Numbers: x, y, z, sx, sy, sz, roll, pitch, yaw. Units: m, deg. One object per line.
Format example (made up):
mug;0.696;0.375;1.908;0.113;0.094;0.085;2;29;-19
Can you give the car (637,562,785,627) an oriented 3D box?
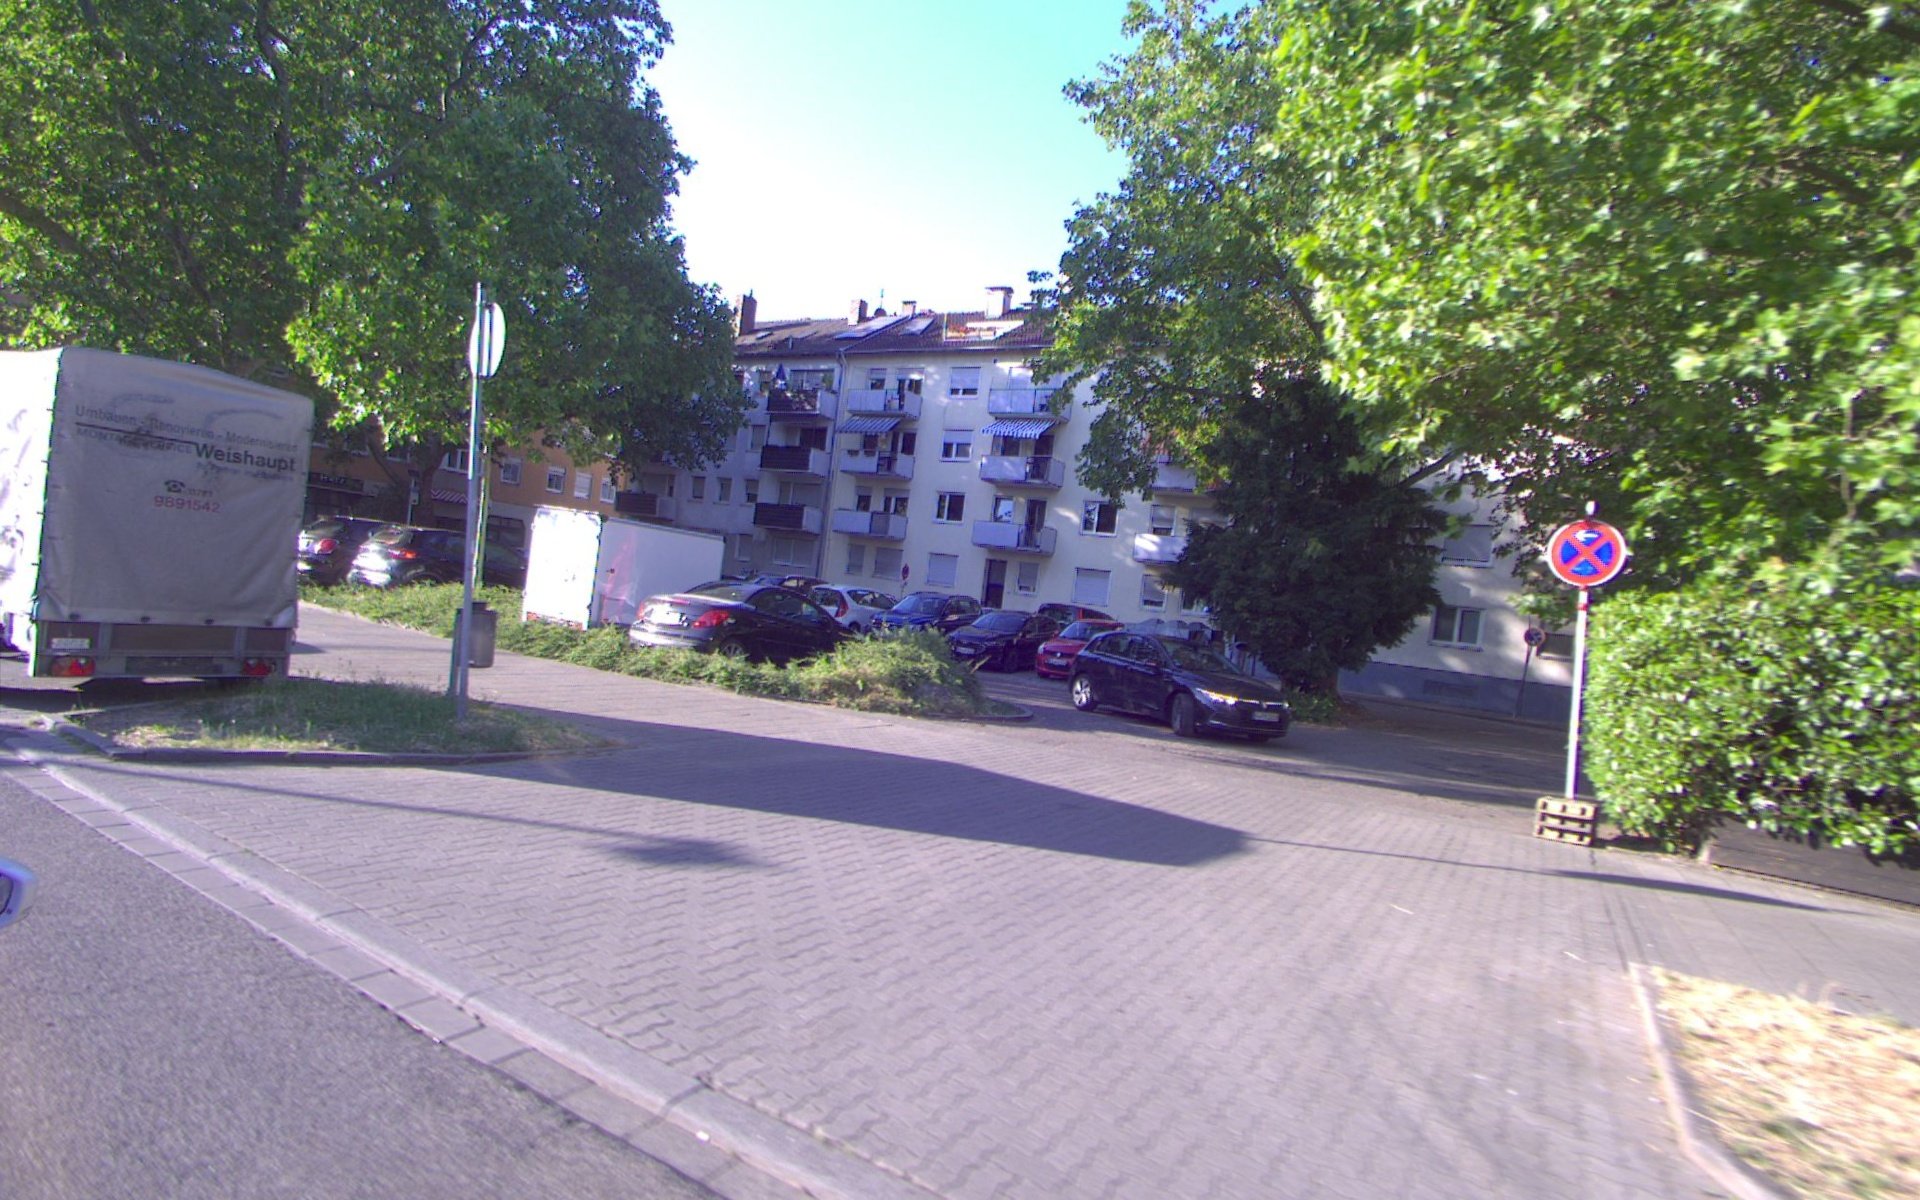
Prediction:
car;-7.589;-0.131;31.071;1.841;1.663;4.279;7;1;31

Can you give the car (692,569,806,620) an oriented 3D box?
car;-8.229;-0.175;39.601;1.841;1.663;4.279;7;1;31

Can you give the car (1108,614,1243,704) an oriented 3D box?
car;5.033;1.310;23.124;1.678;1.699;3.922;7;2;31

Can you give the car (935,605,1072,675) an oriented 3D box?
car;1.185;1.013;25.649;1.678;1.454;3.922;7;2;31

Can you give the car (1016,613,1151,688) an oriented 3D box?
car;3.083;1.206;24.420;1.678;1.506;3.922;7;1;31

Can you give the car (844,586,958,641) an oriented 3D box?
car;-2.017;0.519;35.648;1.841;1.663;4.279;7;1;31

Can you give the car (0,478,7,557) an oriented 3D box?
car;-12.951;-0.809;11.721;3.764;1.608;1.702;7;0;32

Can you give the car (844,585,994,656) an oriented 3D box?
car;-1.012;0.582;27.291;1.992;1.608;4.280;7;1;30

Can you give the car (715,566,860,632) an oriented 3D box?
car;-5.118;0.029;30.381;1.841;1.663;4.279;7;1;31

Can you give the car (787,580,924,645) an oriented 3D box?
car;-2.897;0.399;28.751;1.799;1.576;3.896;7;1;31

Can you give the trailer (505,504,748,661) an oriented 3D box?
trailer;-5.272;-0.223;16.199;1.848;2.095;3.067;7;0;32

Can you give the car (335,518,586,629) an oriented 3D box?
car;-9.452;-0.438;19.330;1.678;1.657;3.925;7;0;31

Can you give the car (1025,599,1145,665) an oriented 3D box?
car;3.830;0.974;30.157;1.841;1.663;4.279;7;1;31

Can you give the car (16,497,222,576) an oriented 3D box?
car;-22.915;-1.694;27.562;1.678;1.608;3.925;7;0;31

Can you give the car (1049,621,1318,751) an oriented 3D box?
car;3.417;1.304;16.241;1.776;1.454;4.207;7;0;-29

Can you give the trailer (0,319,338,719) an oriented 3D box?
trailer;-6.950;-0.627;8.137;3.263;2.590;1.834;7;1;32

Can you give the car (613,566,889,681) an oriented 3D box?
car;-2.958;0.414;15.023;1.678;1.352;3.924;7;0;32

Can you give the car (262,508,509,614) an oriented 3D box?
car;-11.499;-0.717;20.403;1.678;1.658;3.925;7;0;31

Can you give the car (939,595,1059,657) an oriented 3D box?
car;1.331;0.850;32.054;1.841;1.663;4.279;7;1;31
